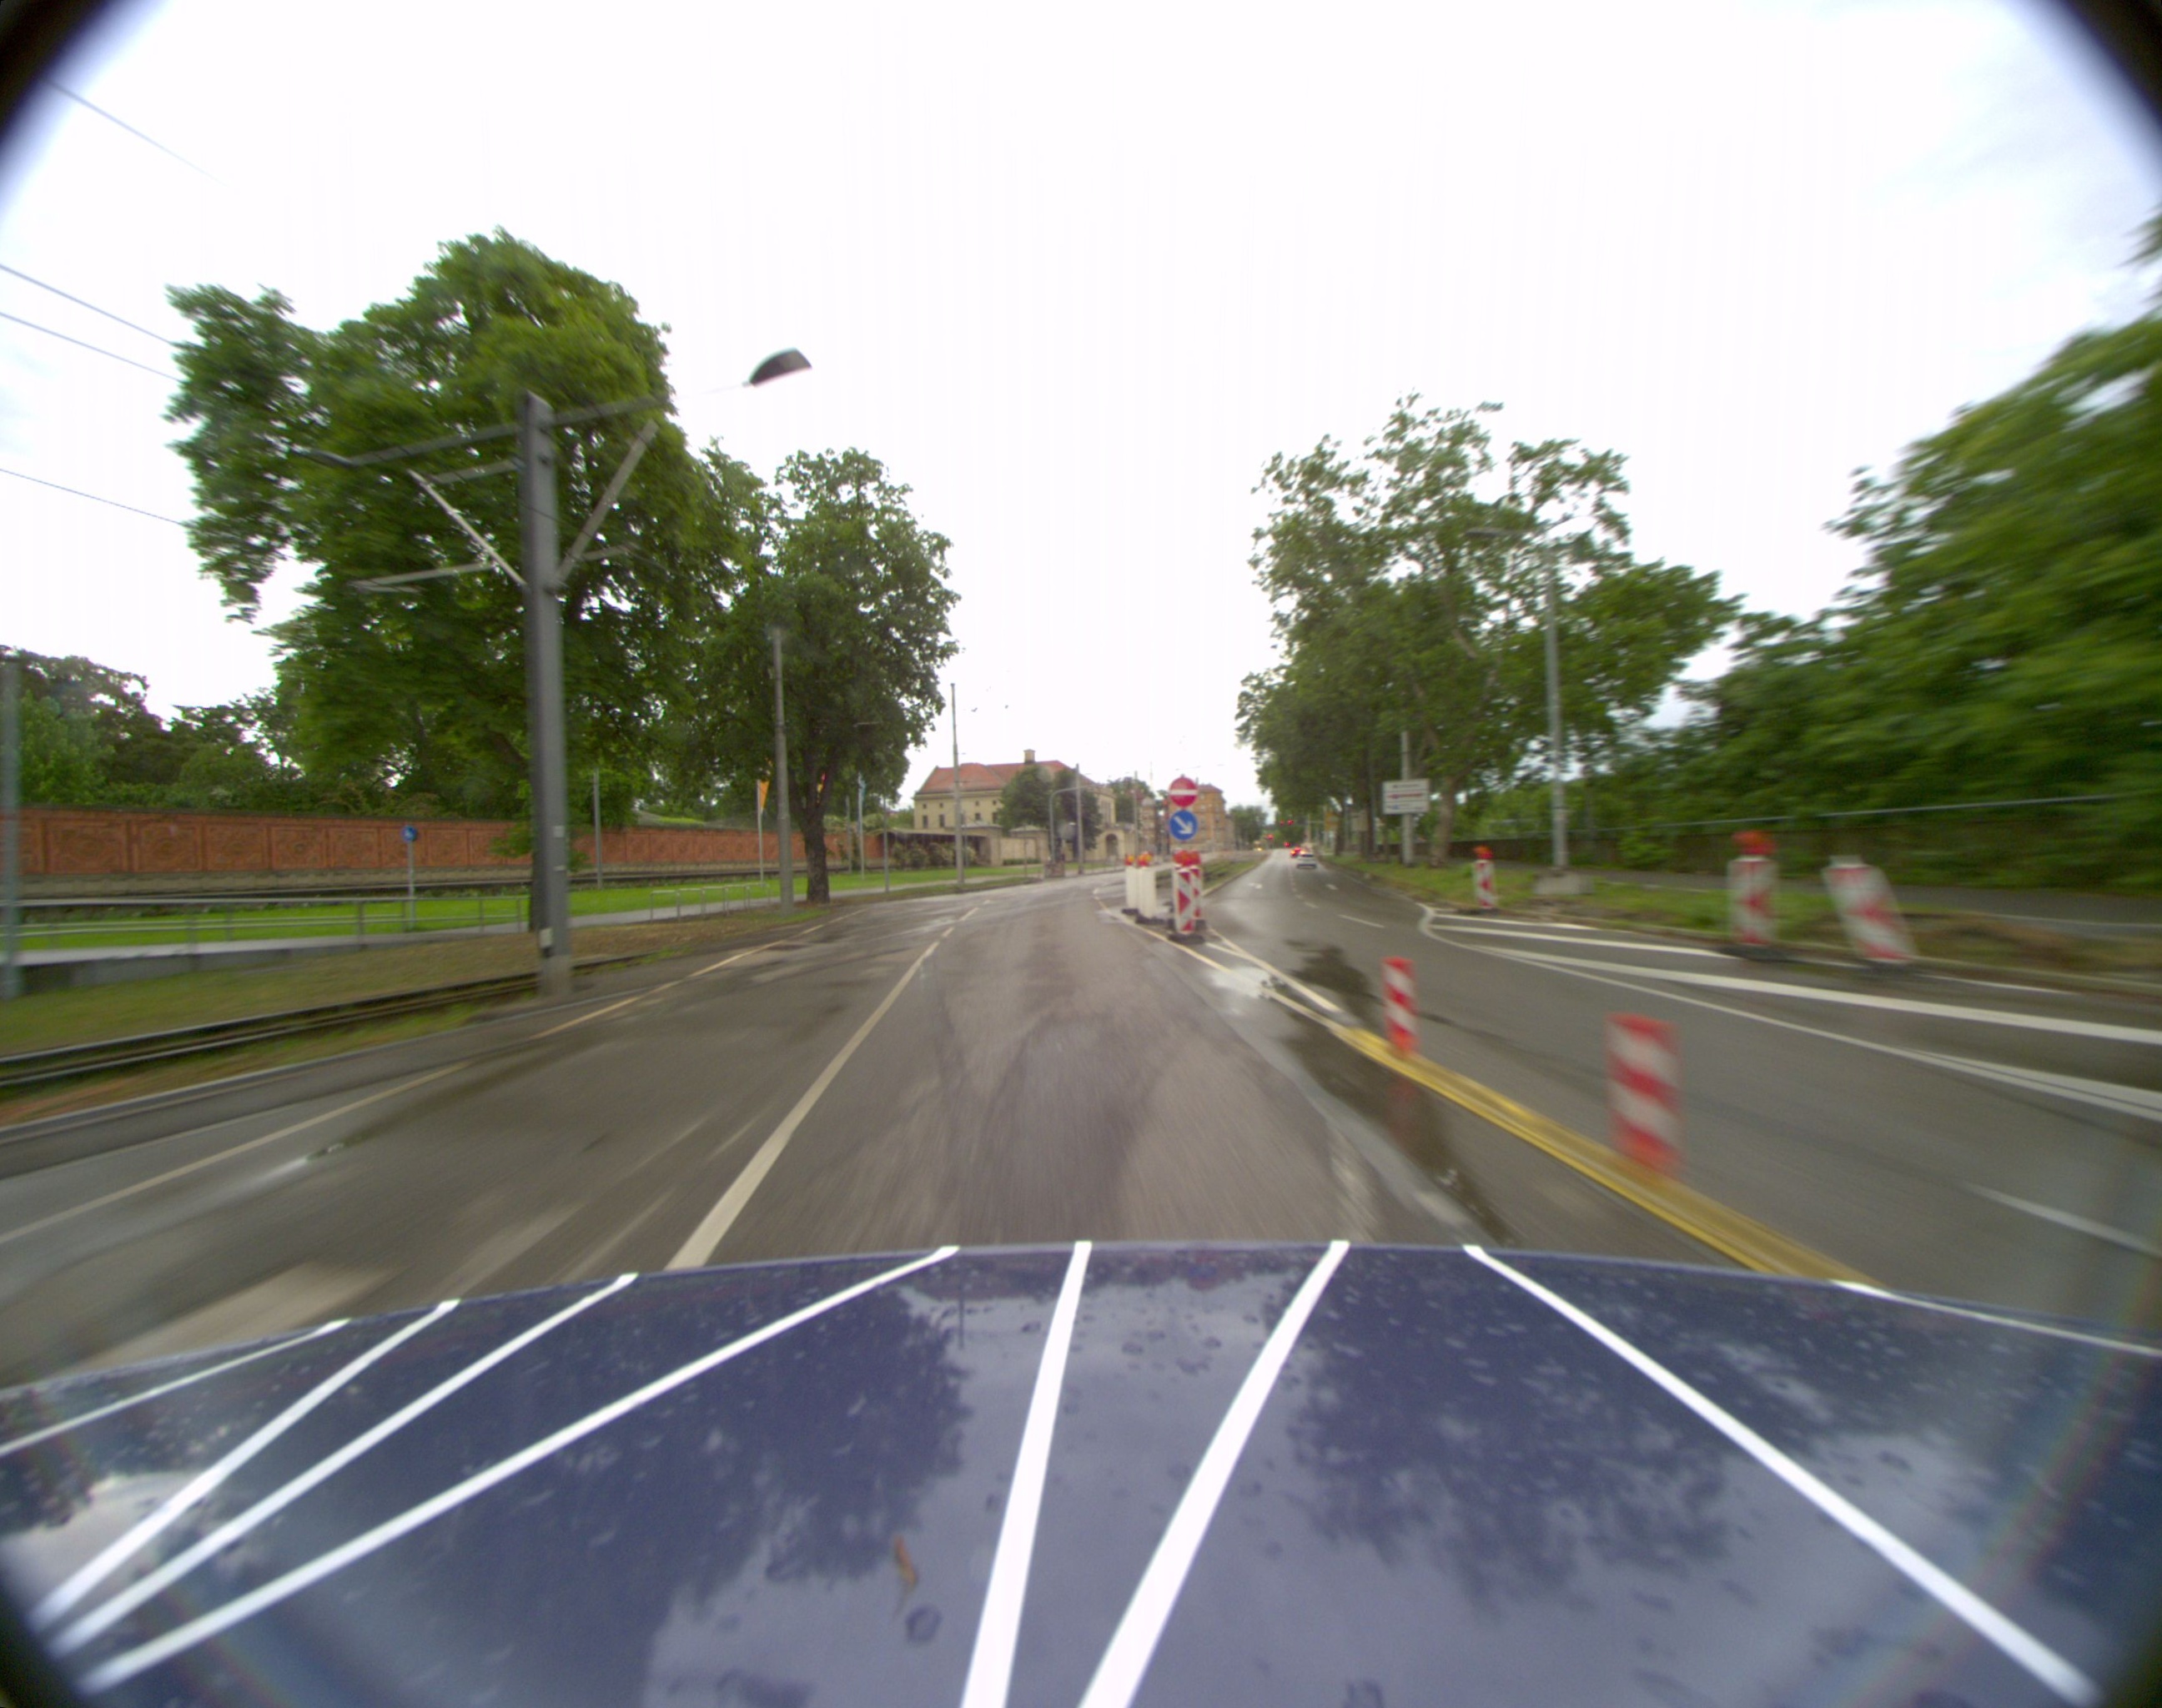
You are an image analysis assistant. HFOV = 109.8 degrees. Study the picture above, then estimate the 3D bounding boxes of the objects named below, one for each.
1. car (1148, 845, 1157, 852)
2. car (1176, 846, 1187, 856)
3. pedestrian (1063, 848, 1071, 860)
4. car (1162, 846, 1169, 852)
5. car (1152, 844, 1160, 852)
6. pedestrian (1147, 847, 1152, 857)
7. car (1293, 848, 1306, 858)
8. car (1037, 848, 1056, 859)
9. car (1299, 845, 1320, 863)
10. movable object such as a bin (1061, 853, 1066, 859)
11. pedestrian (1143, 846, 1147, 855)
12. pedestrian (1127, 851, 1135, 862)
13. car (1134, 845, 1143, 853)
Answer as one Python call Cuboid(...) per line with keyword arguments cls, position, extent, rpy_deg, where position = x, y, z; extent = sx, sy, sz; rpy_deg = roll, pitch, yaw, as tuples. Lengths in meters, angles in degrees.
Cuboid(cls="car", position=(16.205, -1.294, 171.958), extent=(1.829, 1.573, 4.002), rpy_deg=(-2, 1, 9))
Cuboid(cls="car", position=(20.140, -0.637, 151.860), extent=(1.842, 1.630, 4.145), rpy_deg=(-6, 1, 10))
Cuboid(cls="pedestrian", position=(-1.978, 0.015, 106.381), extent=(0.729, 1.701, 0.982), rpy_deg=(-2, 1, 15))
Cuboid(cls="car", position=(24.762, -1.515, 223.140), extent=(1.829, 1.573, 4.002), rpy_deg=(-2, 1, 9))
Cuboid(cls="car", position=(18.036, -1.458, 182.690), extent=(1.829, 1.573, 4.002), rpy_deg=(-2, 1, 9))
Cuboid(cls="pedestrian", position=(12.364, -0.295, 136.875), extent=(0.595, 1.726, 0.839), rpy_deg=(-2, 2, 12))
Cuboid(cls="car", position=(32.896, -0.226, 114.427), extent=(1.749, 1.421, 4.564), rpy_deg=(-1, 1, 14))
Cuboid(cls="car", position=(-5.003, -0.069, 111.113), extent=(1.839, 1.446, 3.602), rpy_deg=(-2, -1, 14))
Cuboid(cls="car", position=(21.237, -0.016, 70.729), extent=(1.711, 1.490, 4.724), rpy_deg=(-1, 1, 16))
Cuboid(cls="movable object such as a bin", position=(-2.503, 0.251, 107.026), extent=(0.342, 0.867, 1.193), rpy_deg=(-2, 1, 15))
Cuboid(cls="pedestrian", position=(11.471, -0.680, 137.128), extent=(0.628, 1.635, 0.781), rpy_deg=(-2, 2, 8))
Cuboid(cls="pedestrian", position=(7.042, 0.395, 107.662), extent=(0.863, 1.582, 0.669), rpy_deg=(0, 2, 41))
Cuboid(cls="car", position=(13.108, -1.152, 172.792), extent=(1.862, 1.539, 4.067), rpy_deg=(-4, 1, 8))
